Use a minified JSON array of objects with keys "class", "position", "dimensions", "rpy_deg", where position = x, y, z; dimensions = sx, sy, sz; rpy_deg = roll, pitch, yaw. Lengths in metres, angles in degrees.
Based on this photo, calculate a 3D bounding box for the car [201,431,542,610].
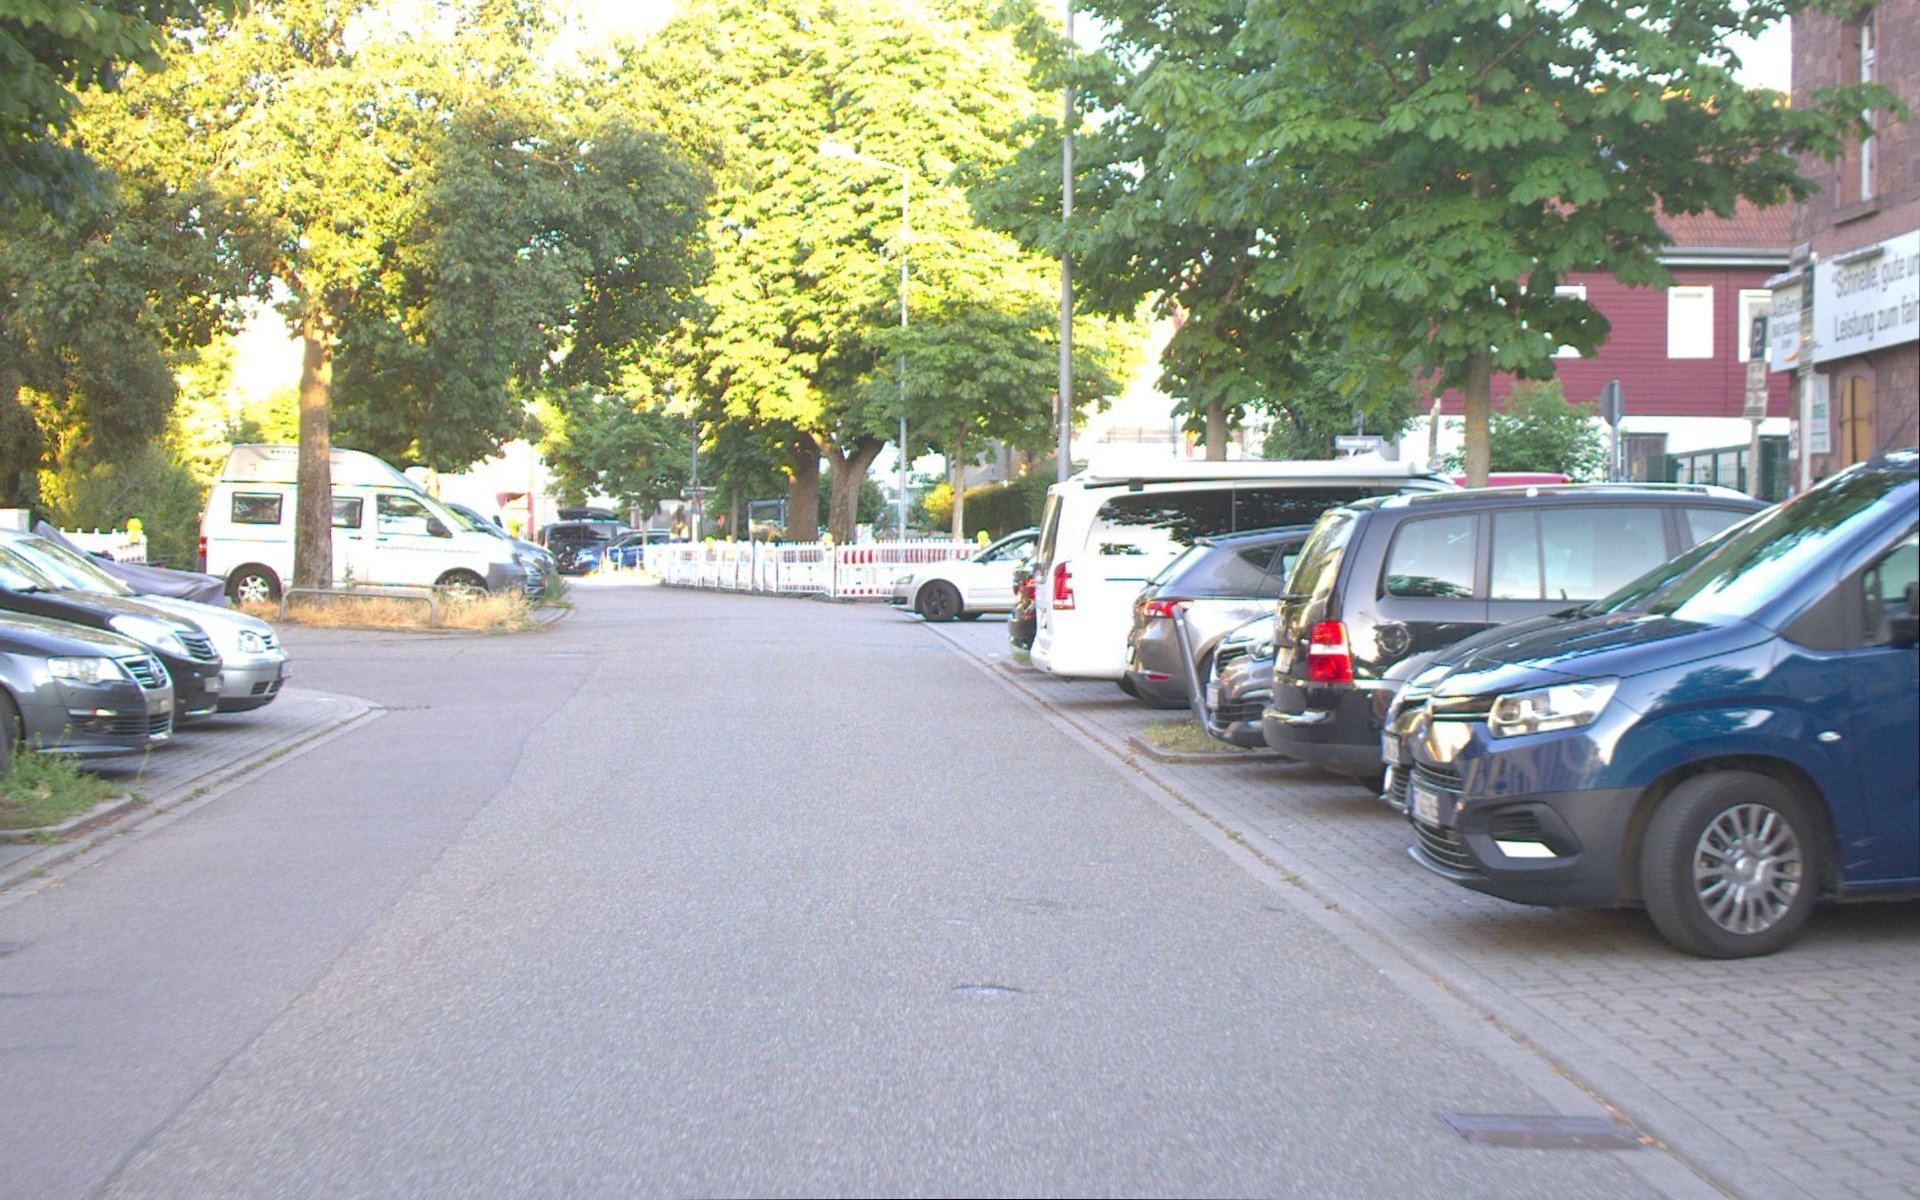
[{"class":"car","position":[-8.689,-1.165,51.049],"dimensions":[4.731,2.561,2.000],"rpy_deg":[1,1,-1]}]

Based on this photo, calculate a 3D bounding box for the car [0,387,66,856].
[{"class":"car","position":[-6.447,-0.015,14.911],"dimensions":[4.512,2.063,2.000],"rpy_deg":[3,2,2]}]

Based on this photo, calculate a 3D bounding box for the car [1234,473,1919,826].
[{"class":"car","position":[3.570,0.207,17.970],"dimensions":[3.986,1.613,1.895],"rpy_deg":[-2,1,-3]}]

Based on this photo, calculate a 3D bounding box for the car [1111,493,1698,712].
[{"class":"car","position":[3.175,0.004,25.089],"dimensions":[3.986,1.504,1.776],"rpy_deg":[1,1,-2]}]

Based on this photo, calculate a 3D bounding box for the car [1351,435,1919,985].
[{"class":"car","position":[4.011,0.250,12.585],"dimensions":[4.786,1.748,2.018],"rpy_deg":[-3,2,-2]}]

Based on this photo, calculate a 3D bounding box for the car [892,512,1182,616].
[{"class":"car","position":[1.161,-0.549,51.221],"dimensions":[3.990,1.483,1.812],"rpy_deg":[1,1,15]}]

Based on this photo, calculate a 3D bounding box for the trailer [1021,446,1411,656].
[{"class":"trailer","position":[2.720,-0.528,37.258],"dimensions":[3.986,2.180,2.000],"rpy_deg":[1,1,-2]}]

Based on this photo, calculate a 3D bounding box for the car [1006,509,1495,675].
[{"class":"car","position":[2.703,-0.088,32.686],"dimensions":[4.426,1.494,1.773],"rpy_deg":[1,1,-2]}]

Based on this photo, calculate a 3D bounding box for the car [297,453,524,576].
[{"class":"car","position":[-11.212,-1.730,70.231],"dimensions":[4.501,2.422,2.001],"rpy_deg":[0,1,-9]}]

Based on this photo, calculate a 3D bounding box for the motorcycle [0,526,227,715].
[{"class":"motorcycle","position":[-6.712,0.151,26.561],"dimensions":[1.985,1.431,0.722],"rpy_deg":[0,1,-7]}]

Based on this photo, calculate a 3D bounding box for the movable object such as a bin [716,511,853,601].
[{"class":"movable object such as a bin","position":[-4.926,-1.233,95.560],"dimensions":[2.627,2.394,5.199],"rpy_deg":[0,1,-17]}]

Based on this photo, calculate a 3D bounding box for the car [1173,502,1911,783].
[{"class":"car","position":[3.362,0.232,20.329],"dimensions":[3.945,1.560,1.821],"rpy_deg":[0,1,-6]}]

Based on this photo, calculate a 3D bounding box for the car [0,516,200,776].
[{"class":"car","position":[-6.785,0.169,19.879],"dimensions":[4.326,1.400,1.851],"rpy_deg":[2,1,0]}]

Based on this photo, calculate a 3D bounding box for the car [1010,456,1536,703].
[{"class":"car","position":[2.471,-0.173,27.915],"dimensions":[3.986,1.897,2.000],"rpy_deg":[0,1,-3]}]

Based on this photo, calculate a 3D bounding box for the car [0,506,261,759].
[{"class":"car","position":[-6.733,0.179,22.433],"dimensions":[3.987,1.578,1.729],"rpy_deg":[1,1,0]}]

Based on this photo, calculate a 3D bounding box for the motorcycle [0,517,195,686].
[{"class":"motorcycle","position":[-7.847,0.003,29.853],"dimensions":[2.231,1.431,0.774],"rpy_deg":[1,1,1]}]

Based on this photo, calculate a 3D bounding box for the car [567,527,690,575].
[{"class":"car","position":[-11.723,-1.736,121.599],"dimensions":[3.986,1.645,1.765],"rpy_deg":[0,1,-22]}]

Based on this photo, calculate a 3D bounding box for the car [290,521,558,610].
[{"class":"car","position":[-8.898,-0.577,57.308],"dimensions":[4.243,1.389,1.684],"rpy_deg":[1,1,-4]}]

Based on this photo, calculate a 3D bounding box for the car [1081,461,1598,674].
[{"class":"car","position":[3.301,-0.293,30.495],"dimensions":[4.300,1.793,1.904],"rpy_deg":[1,1,-2]}]

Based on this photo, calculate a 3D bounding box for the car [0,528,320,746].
[{"class":"car","position":[-6.627,0.237,24.776],"dimensions":[3.713,1.501,1.690],"rpy_deg":[1,1,0]}]

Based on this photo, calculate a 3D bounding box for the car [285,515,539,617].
[{"class":"car","position":[-10.367,-0.647,65.080],"dimensions":[4.672,1.867,2.001],"rpy_deg":[0,1,-9]}]

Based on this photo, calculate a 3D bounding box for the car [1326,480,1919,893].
[{"class":"car","position":[4.014,0.279,15.321],"dimensions":[4.414,1.569,1.982],"rpy_deg":[-3,2,-3]}]
